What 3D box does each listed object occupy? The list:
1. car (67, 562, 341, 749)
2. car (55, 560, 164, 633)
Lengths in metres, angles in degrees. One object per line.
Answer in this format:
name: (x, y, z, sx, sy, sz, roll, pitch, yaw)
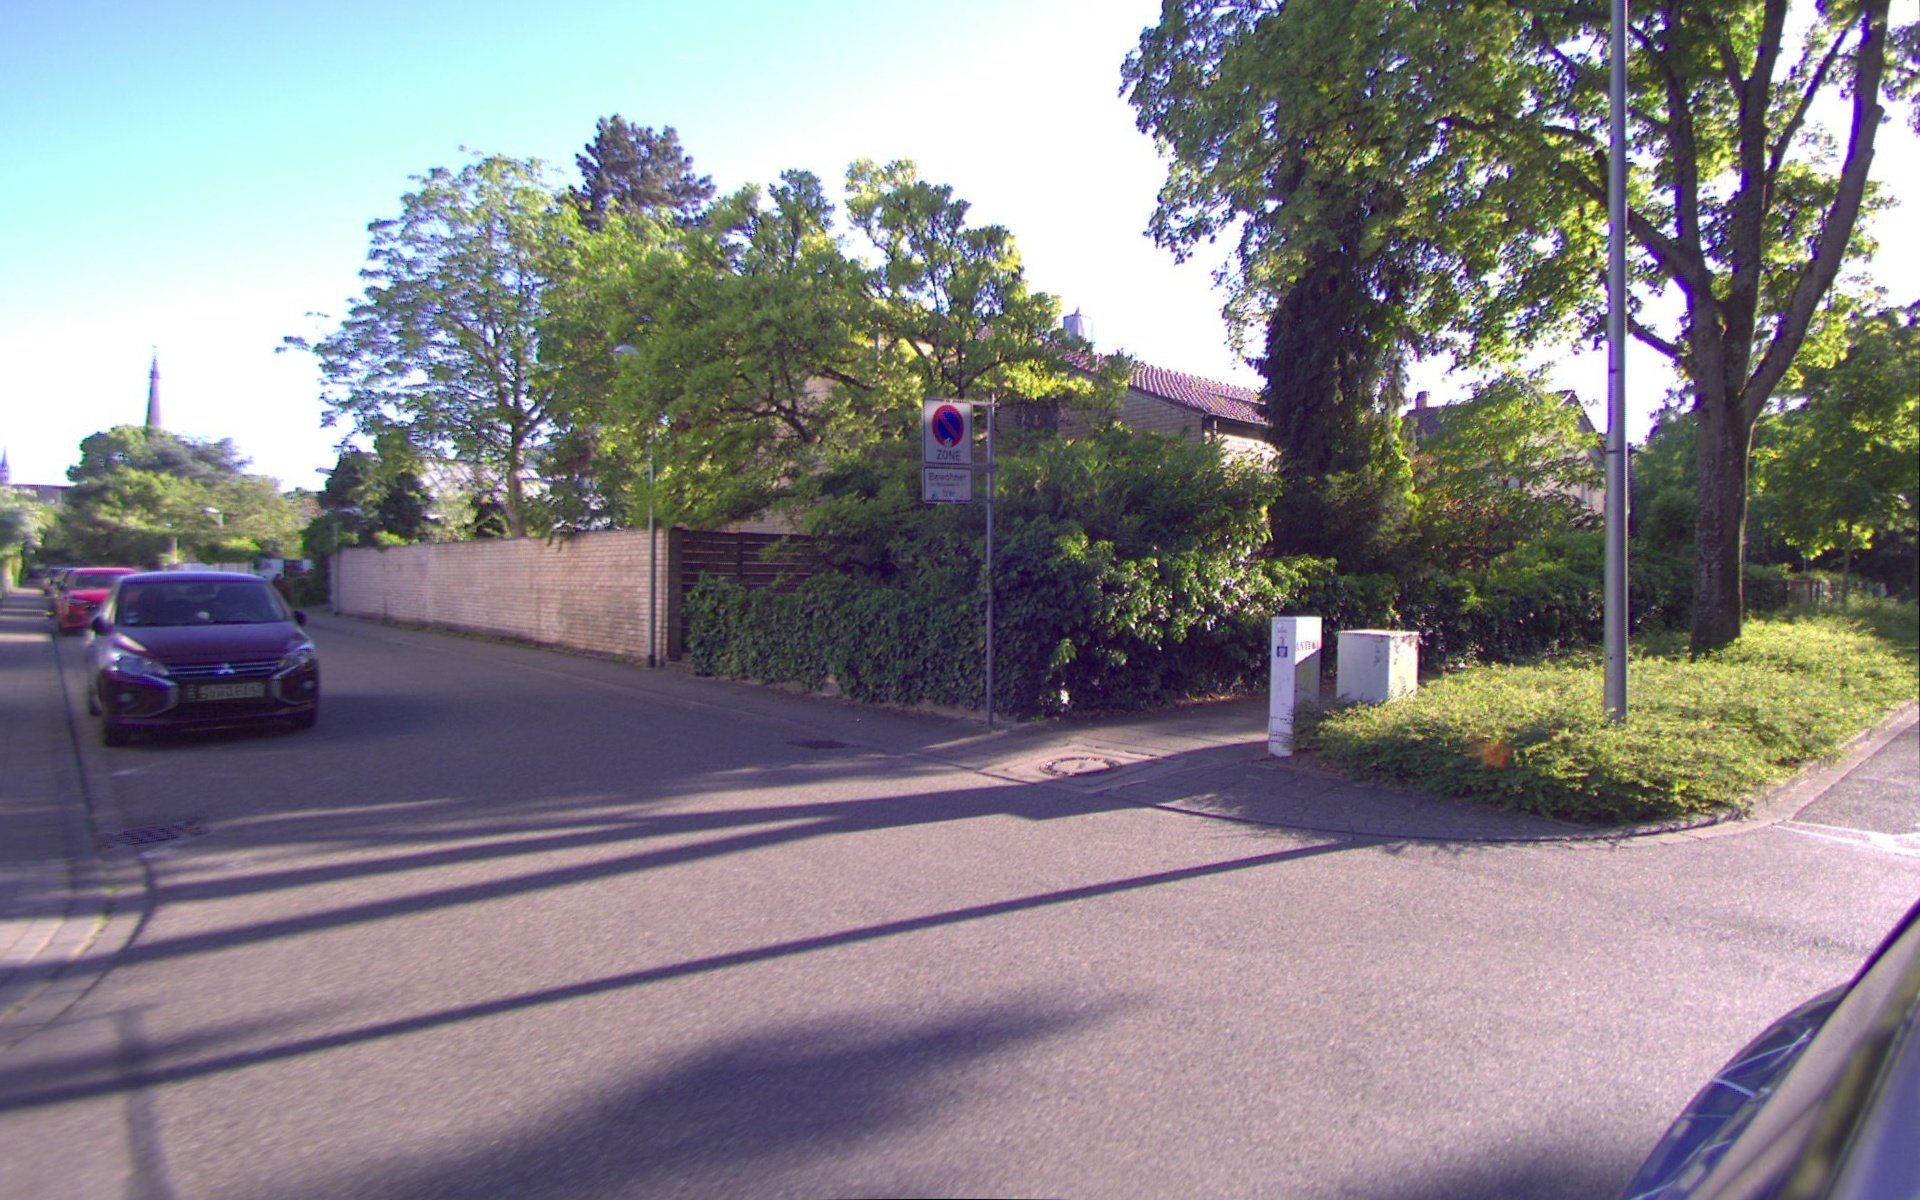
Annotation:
car: (-7.669, 0.428, 10.139, 3.732, 1.520, 1.664, 1, 1, 44)
car: (-21.134, -0.123, 25.097, 1.919, 1.643, 4.046, -2, 2, -42)
